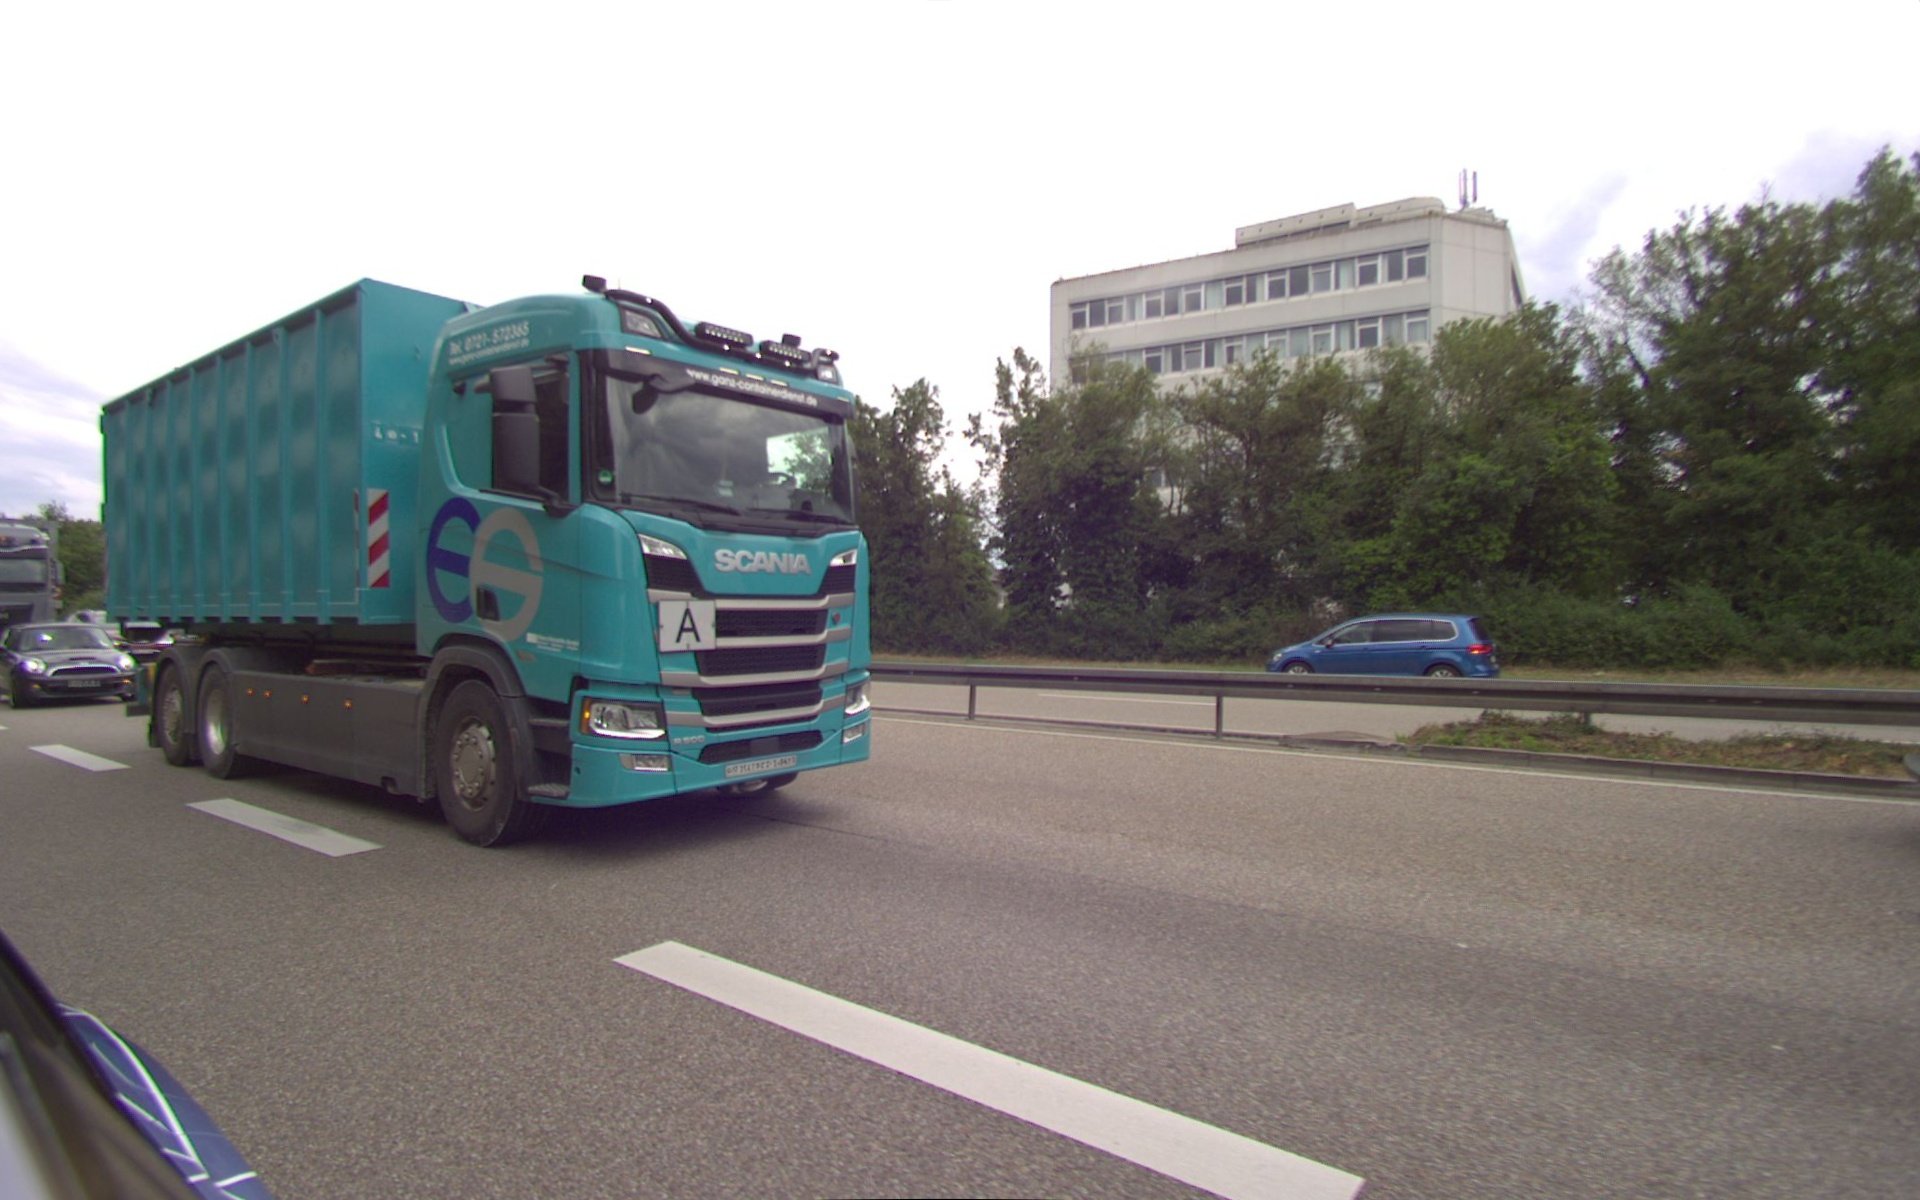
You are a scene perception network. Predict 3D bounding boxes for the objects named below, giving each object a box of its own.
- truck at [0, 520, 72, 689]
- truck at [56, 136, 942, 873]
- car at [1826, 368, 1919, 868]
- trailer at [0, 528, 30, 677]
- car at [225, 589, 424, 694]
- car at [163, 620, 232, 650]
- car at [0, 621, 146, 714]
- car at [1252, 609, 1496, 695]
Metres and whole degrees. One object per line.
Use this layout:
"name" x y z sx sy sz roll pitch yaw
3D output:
"truck" -25.317 0.164 25.577 6.918 3.937 2.660 -1 -2 35
"truck" -5.479 -0.377 9.864 11.313 3.825 2.901 -1 -2 38
"car" 8.078 0.053 4.138 6.791 2.597 2.200 -1 0 39
"trailer" -30.185 0.152 29.160 10.961 3.937 2.660 -1 -2 35
"car" -13.032 0.799 20.632 4.869 1.906 1.834 -1 -1 37
"car" -44.888 2.062 59.573 3.987 1.724 1.978 -1 -2 32
"car" -16.056 1.118 17.981 3.659 1.432 1.731 -1 0 38
"car" 8.471 1.026 20.910 4.415 1.609 1.613 -1 -2 35
